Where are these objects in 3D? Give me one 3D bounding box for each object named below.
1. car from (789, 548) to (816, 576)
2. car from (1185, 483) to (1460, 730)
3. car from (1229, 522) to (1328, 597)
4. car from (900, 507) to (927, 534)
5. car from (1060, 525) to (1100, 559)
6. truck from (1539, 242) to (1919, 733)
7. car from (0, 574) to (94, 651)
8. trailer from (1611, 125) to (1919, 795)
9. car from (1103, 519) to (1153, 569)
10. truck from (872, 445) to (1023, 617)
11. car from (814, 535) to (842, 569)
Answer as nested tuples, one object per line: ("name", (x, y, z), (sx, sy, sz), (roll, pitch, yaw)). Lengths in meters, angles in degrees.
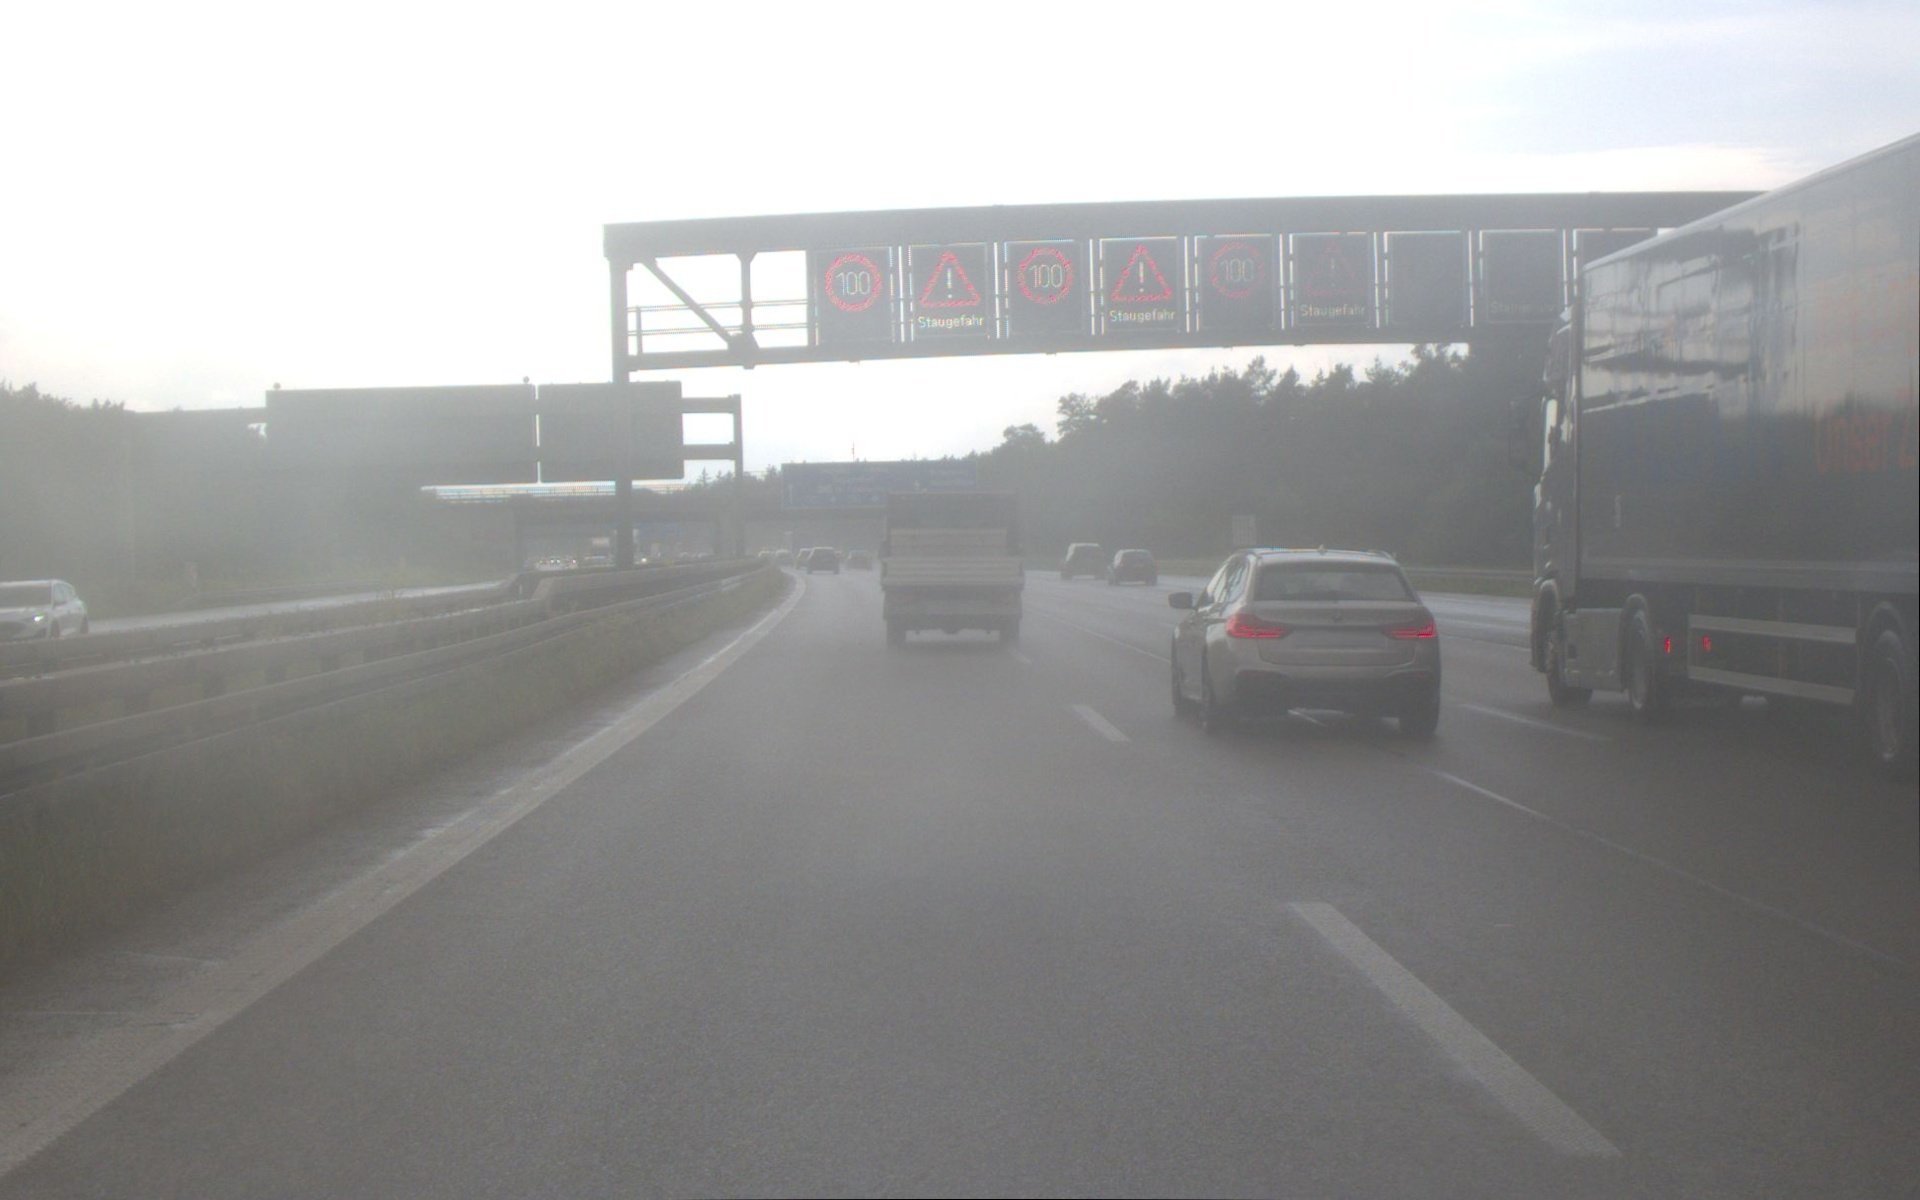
("car", (-11.746, -2.836, 257.032), (1.795, 2.007, 4.000), (1, 1, 0))
("car", (2.968, 0.003, 28.700), (2.078, 1.878, 5.010), (0, 1, 5))
("car", (6.378, -0.841, 69.242), (1.831, 1.461, 4.000), (0, 1, 3))
("car", (-3.523, -6.041, 260.794), (1.993, 2.007, 4.000), (1, 1, -1))
("car", (5.874, -2.848, 168.392), (1.741, 1.683, 4.000), (0, 1, -1))
("truck", (6.658, -0.939, 29.747), (2.293, 3.854, 5.392), (0, 1, -1))
("car", (-19.054, 0.252, 69.953), (1.849, 1.440, 4.322), (-2, 1, -2))
("trailer", (6.841, -0.879, 22.604), (2.323, 3.988, 13.413), (0, 1, -1))
("car", (6.902, -2.320, 141.860), (1.994, 2.007, 4.000), (1, 1, 2))
("truck", (-0.125, -1.059, 52.140), (2.137, 2.480, 5.313), (0, 1, 1))
("car", (-8.049, -2.959, 210.038), (1.617, 2.007, 4.001), (1, 1, -1))
